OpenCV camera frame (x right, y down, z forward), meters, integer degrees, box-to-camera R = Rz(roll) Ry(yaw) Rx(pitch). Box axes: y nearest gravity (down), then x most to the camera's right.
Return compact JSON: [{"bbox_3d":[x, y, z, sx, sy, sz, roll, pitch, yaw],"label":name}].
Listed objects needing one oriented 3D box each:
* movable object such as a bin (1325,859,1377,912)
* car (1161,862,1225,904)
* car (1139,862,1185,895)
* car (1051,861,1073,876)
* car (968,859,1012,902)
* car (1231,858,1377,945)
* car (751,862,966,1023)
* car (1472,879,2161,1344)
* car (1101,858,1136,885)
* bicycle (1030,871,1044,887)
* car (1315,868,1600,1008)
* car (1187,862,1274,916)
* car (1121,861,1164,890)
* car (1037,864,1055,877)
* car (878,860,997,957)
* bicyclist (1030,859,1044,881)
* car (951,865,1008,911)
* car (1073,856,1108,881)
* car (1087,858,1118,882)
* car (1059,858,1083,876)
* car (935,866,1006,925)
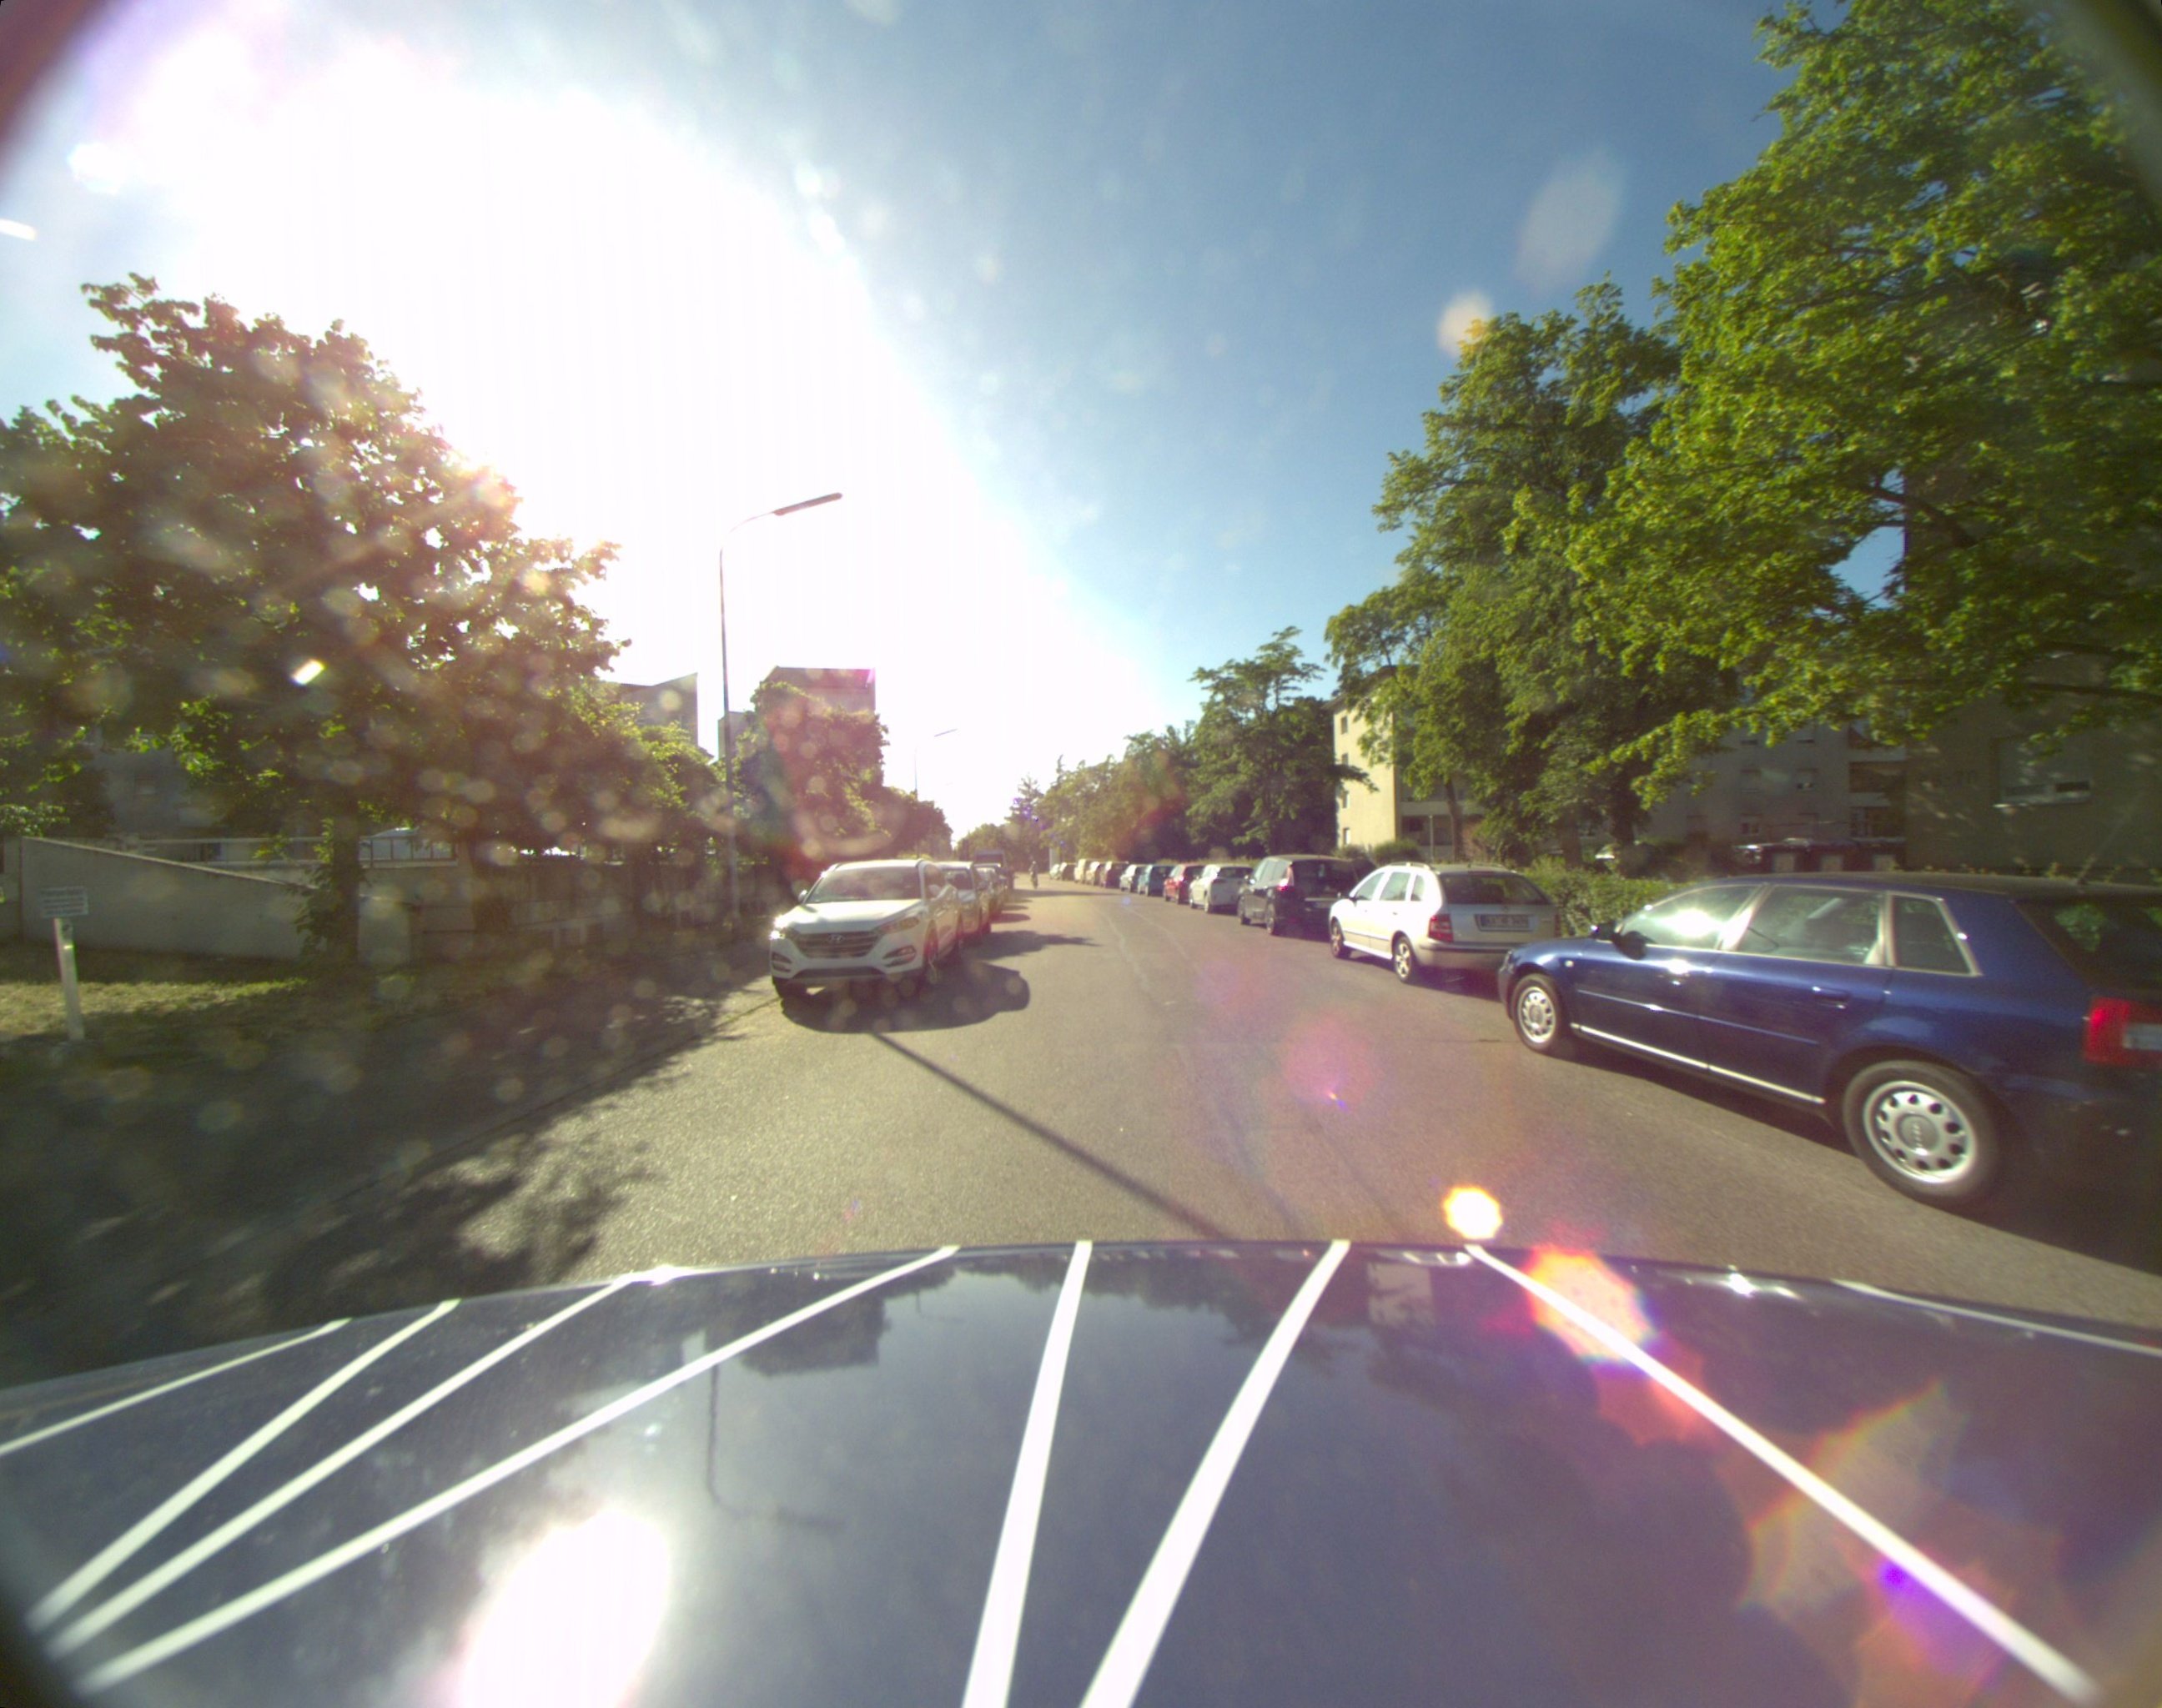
[{"bbox_3d":[7.698,0.884,21.741,0.897,1.407,1.264,-4,0,-3],"label":"movable object such as a bin"},{"bbox_3d":[4.129,1.037,28.607,1.635,1.470,3.878,0,0,-3],"label":"car"},{"bbox_3d":[3.743,1.105,35.581,1.658,1.470,3.105,0,0,-3],"label":"car"},{"bbox_3d":[-1.973,1.494,77.812,1.659,1.426,3.687,0,0,-10],"label":"car"},{"bbox_3d":[-3.967,1.107,33.417,1.759,1.684,3.900,-2,0,-6],"label":"car"},{"bbox_3d":[4.602,0.897,16.384,1.811,1.596,4.432,0,0,-1],"label":"car"},{"bbox_3d":[-2.752,0.983,10.483,1.759,1.664,4.412,-2,0,-2],"label":"car"},{"bbox_3d":[4.235,0.898,4.436,1.642,1.377,4.170,0,0,-2],"label":"car"},{"bbox_3d":[2.303,1.088,47.821,1.658,1.621,4.070,0,0,-5],"label":"car"},{"bbox_3d":[-2.730,1.559,47.454,0.824,0.896,2.202,-2,0,-2],"label":"bicycle"},{"bbox_3d":[4.624,0.928,10.115,1.758,1.428,4.151,0,0,0],"label":"car"},{"bbox_3d":[4.453,1.005,23.230,1.811,1.470,3.940,0,0,-1],"label":"car"},{"bbox_3d":[3.230,1.123,40.614,1.658,1.470,3.733,0,0,-6],"label":"car"},{"bbox_3d":[-4.180,1.933,90.813,1.659,1.426,3.687,0,0,-10],"label":"car"},{"bbox_3d":[-2.797,0.994,15.628,1.759,1.676,3.982,-2,0,-2],"label":"car"},{"bbox_3d":[-2.750,1.019,47.618,0.813,1.348,1.091,-2,0,-3],"label":"bicyclist"},{"bbox_3d":[-3.686,1.205,28.188,1.759,1.470,3.901,-2,0,-4],"label":"car"},{"bbox_3d":[0.683,1.085,59.698,1.886,1.857,5.435,0,0,-9],"label":"car"},{"bbox_3d":[1.484,1.105,54.076,1.658,1.621,3.688,0,0,-7],"label":"car"},{"bbox_3d":[-0.958,1.207,71.692,1.659,1.558,3.687,0,0,-10],"label":"car"},{"bbox_3d":[-3.280,1.193,23.318,1.759,1.470,4.367,-3,0,-4],"label":"car"}]
